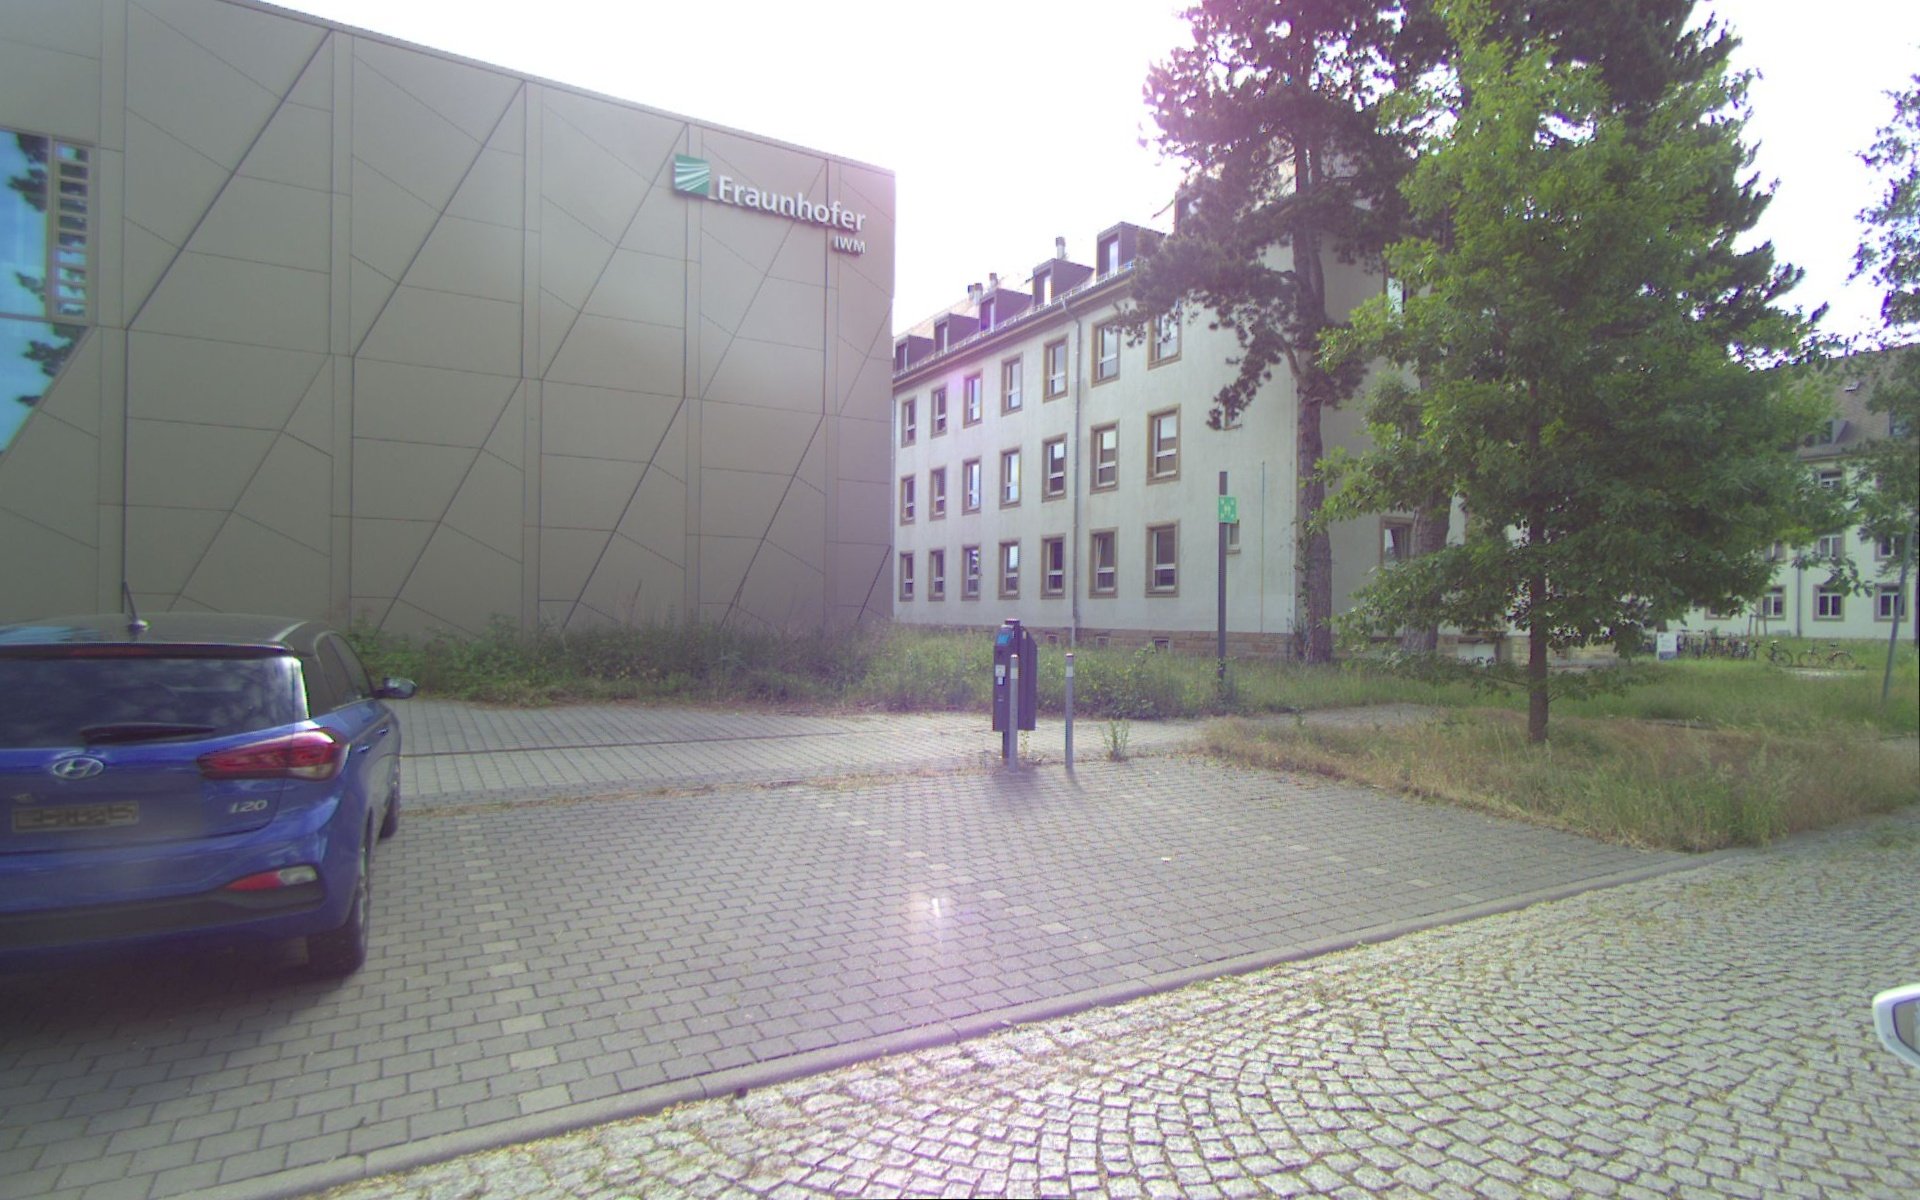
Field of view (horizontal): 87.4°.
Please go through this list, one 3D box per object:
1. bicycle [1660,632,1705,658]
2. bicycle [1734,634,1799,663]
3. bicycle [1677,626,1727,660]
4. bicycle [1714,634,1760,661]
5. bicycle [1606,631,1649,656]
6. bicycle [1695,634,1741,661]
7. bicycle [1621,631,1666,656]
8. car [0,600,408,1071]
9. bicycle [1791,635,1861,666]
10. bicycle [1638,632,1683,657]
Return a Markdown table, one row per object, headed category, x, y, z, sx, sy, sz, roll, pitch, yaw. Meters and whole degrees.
| category | x | y | z | sx | sy | sz | roll | pitch | yaw |
| --- | --- | --- | --- | --- | --- | --- | --- | --- | --- |
| bicycle | 31.437 | 1.970 | 43.687 | 2.246 | 1.090 | 0.732 | 1 | -1 | -30 |
| bicycle | 31.821 | 1.911 | 39.660 | 0.729 | 1.090 | 1.849 | 1 | -1 | -27 |
| bicycle | 31.733 | 1.829 | 42.934 | 2.679 | 1.404 | 0.732 | 1 | -1 | -30 |
| bicycle | 32.167 | 1.957 | 41.586 | 2.246 | 1.090 | 0.732 | 1 | -1 | -30 |
| bicycle | 30.136 | 1.939 | 45.335 | 2.246 | 1.090 | 0.732 | 1 | -1 | -30 |
| bicycle | 31.788 | 1.967 | 42.105 | 2.246 | 1.090 | 0.732 | 1 | -1 | -30 |
| bicycle | 30.413 | 1.941 | 44.677 | 2.246 | 1.090 | 0.732 | 1 | -1 | -30 |
| car | -3.934 | 0.800 | 5.079 | 1.828 | 1.498 | 3.752 | 1 | 0 | -27 |
| bicycle | 32.766 | 1.902 | 38.033 | 0.821 | 1.090 | 1.849 | 1 | -1 | -27 |
| bicycle | 30.706 | 1.938 | 44.002 | 2.246 | 1.090 | 0.732 | 1 | -1 | -30 |
